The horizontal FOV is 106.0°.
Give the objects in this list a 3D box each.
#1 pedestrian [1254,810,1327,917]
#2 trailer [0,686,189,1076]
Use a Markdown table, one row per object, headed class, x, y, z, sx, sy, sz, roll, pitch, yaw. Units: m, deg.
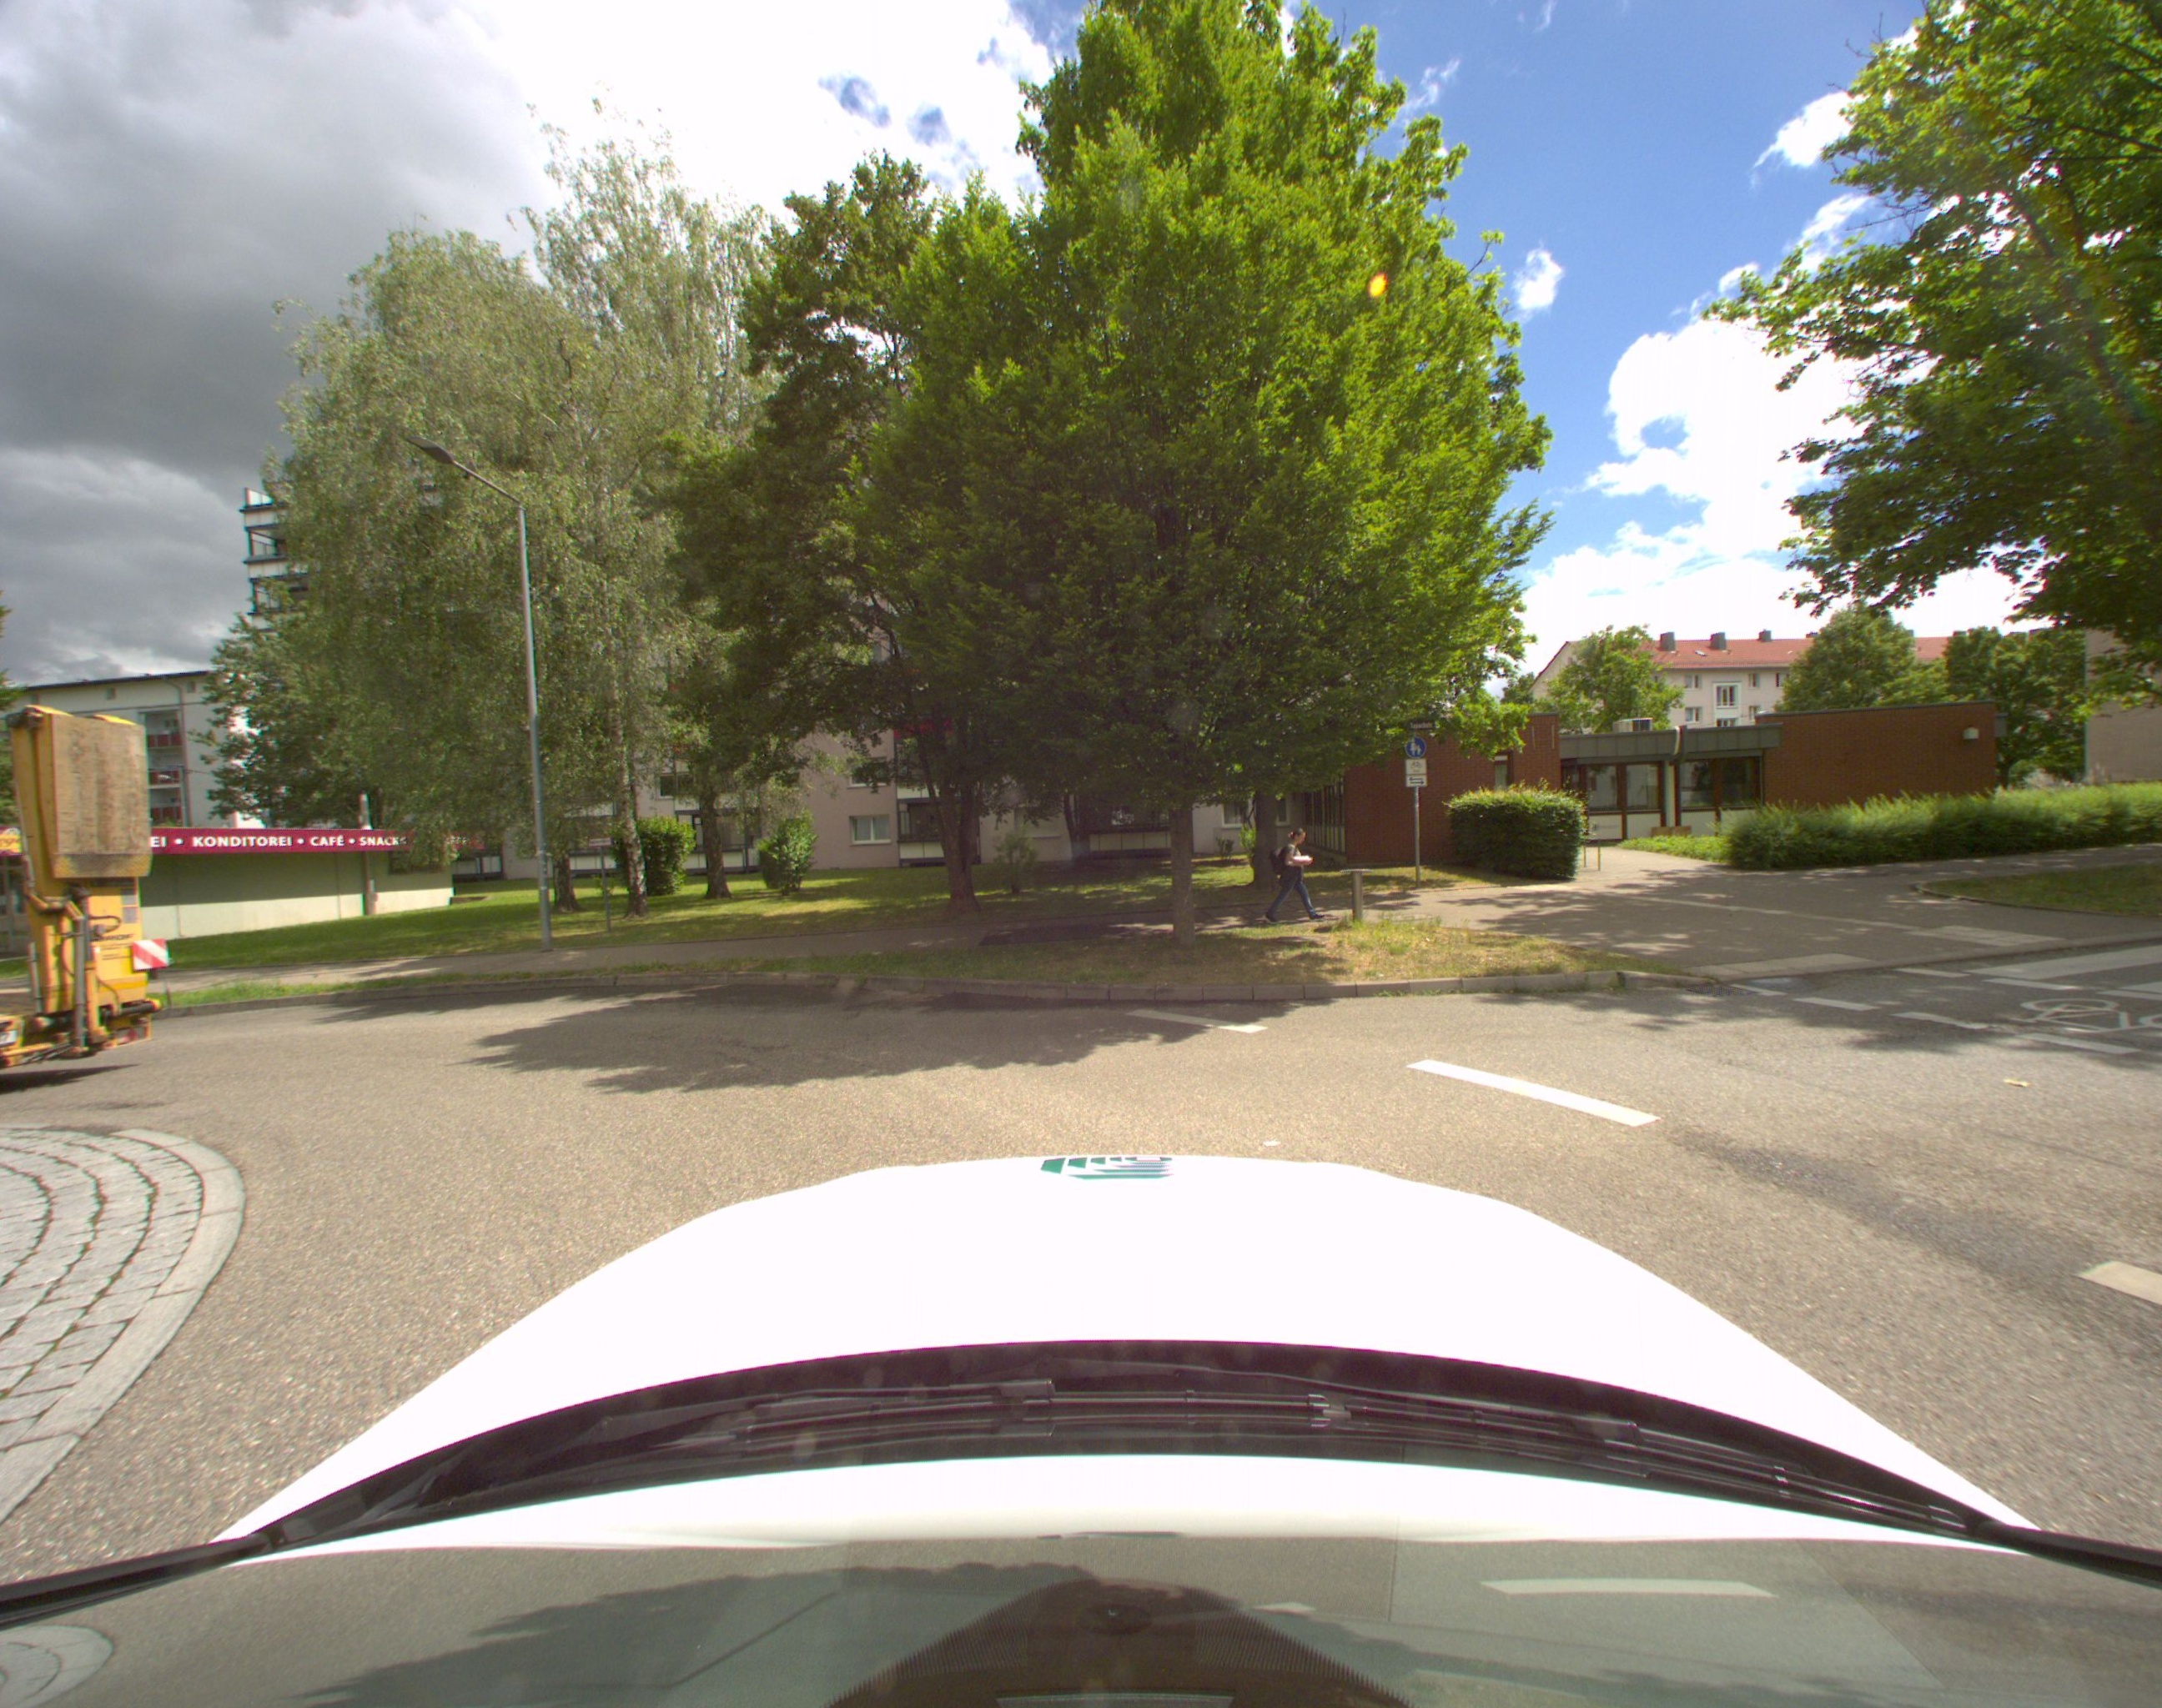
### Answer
| class | x | y | z | sx | sy | sz | roll | pitch | yaw |
| --- | --- | --- | --- | --- | --- | --- | --- | --- | --- |
| pedestrian | 3.301 | 0.134 | 12.919 | 0.836 | 1.579 | 0.721 | -6 | 1 | 0 |
| trailer | -14.720 | 0.345 | 7.281 | 10.758 | 3.372 | 2.876 | -1 | -1 | 3 |
